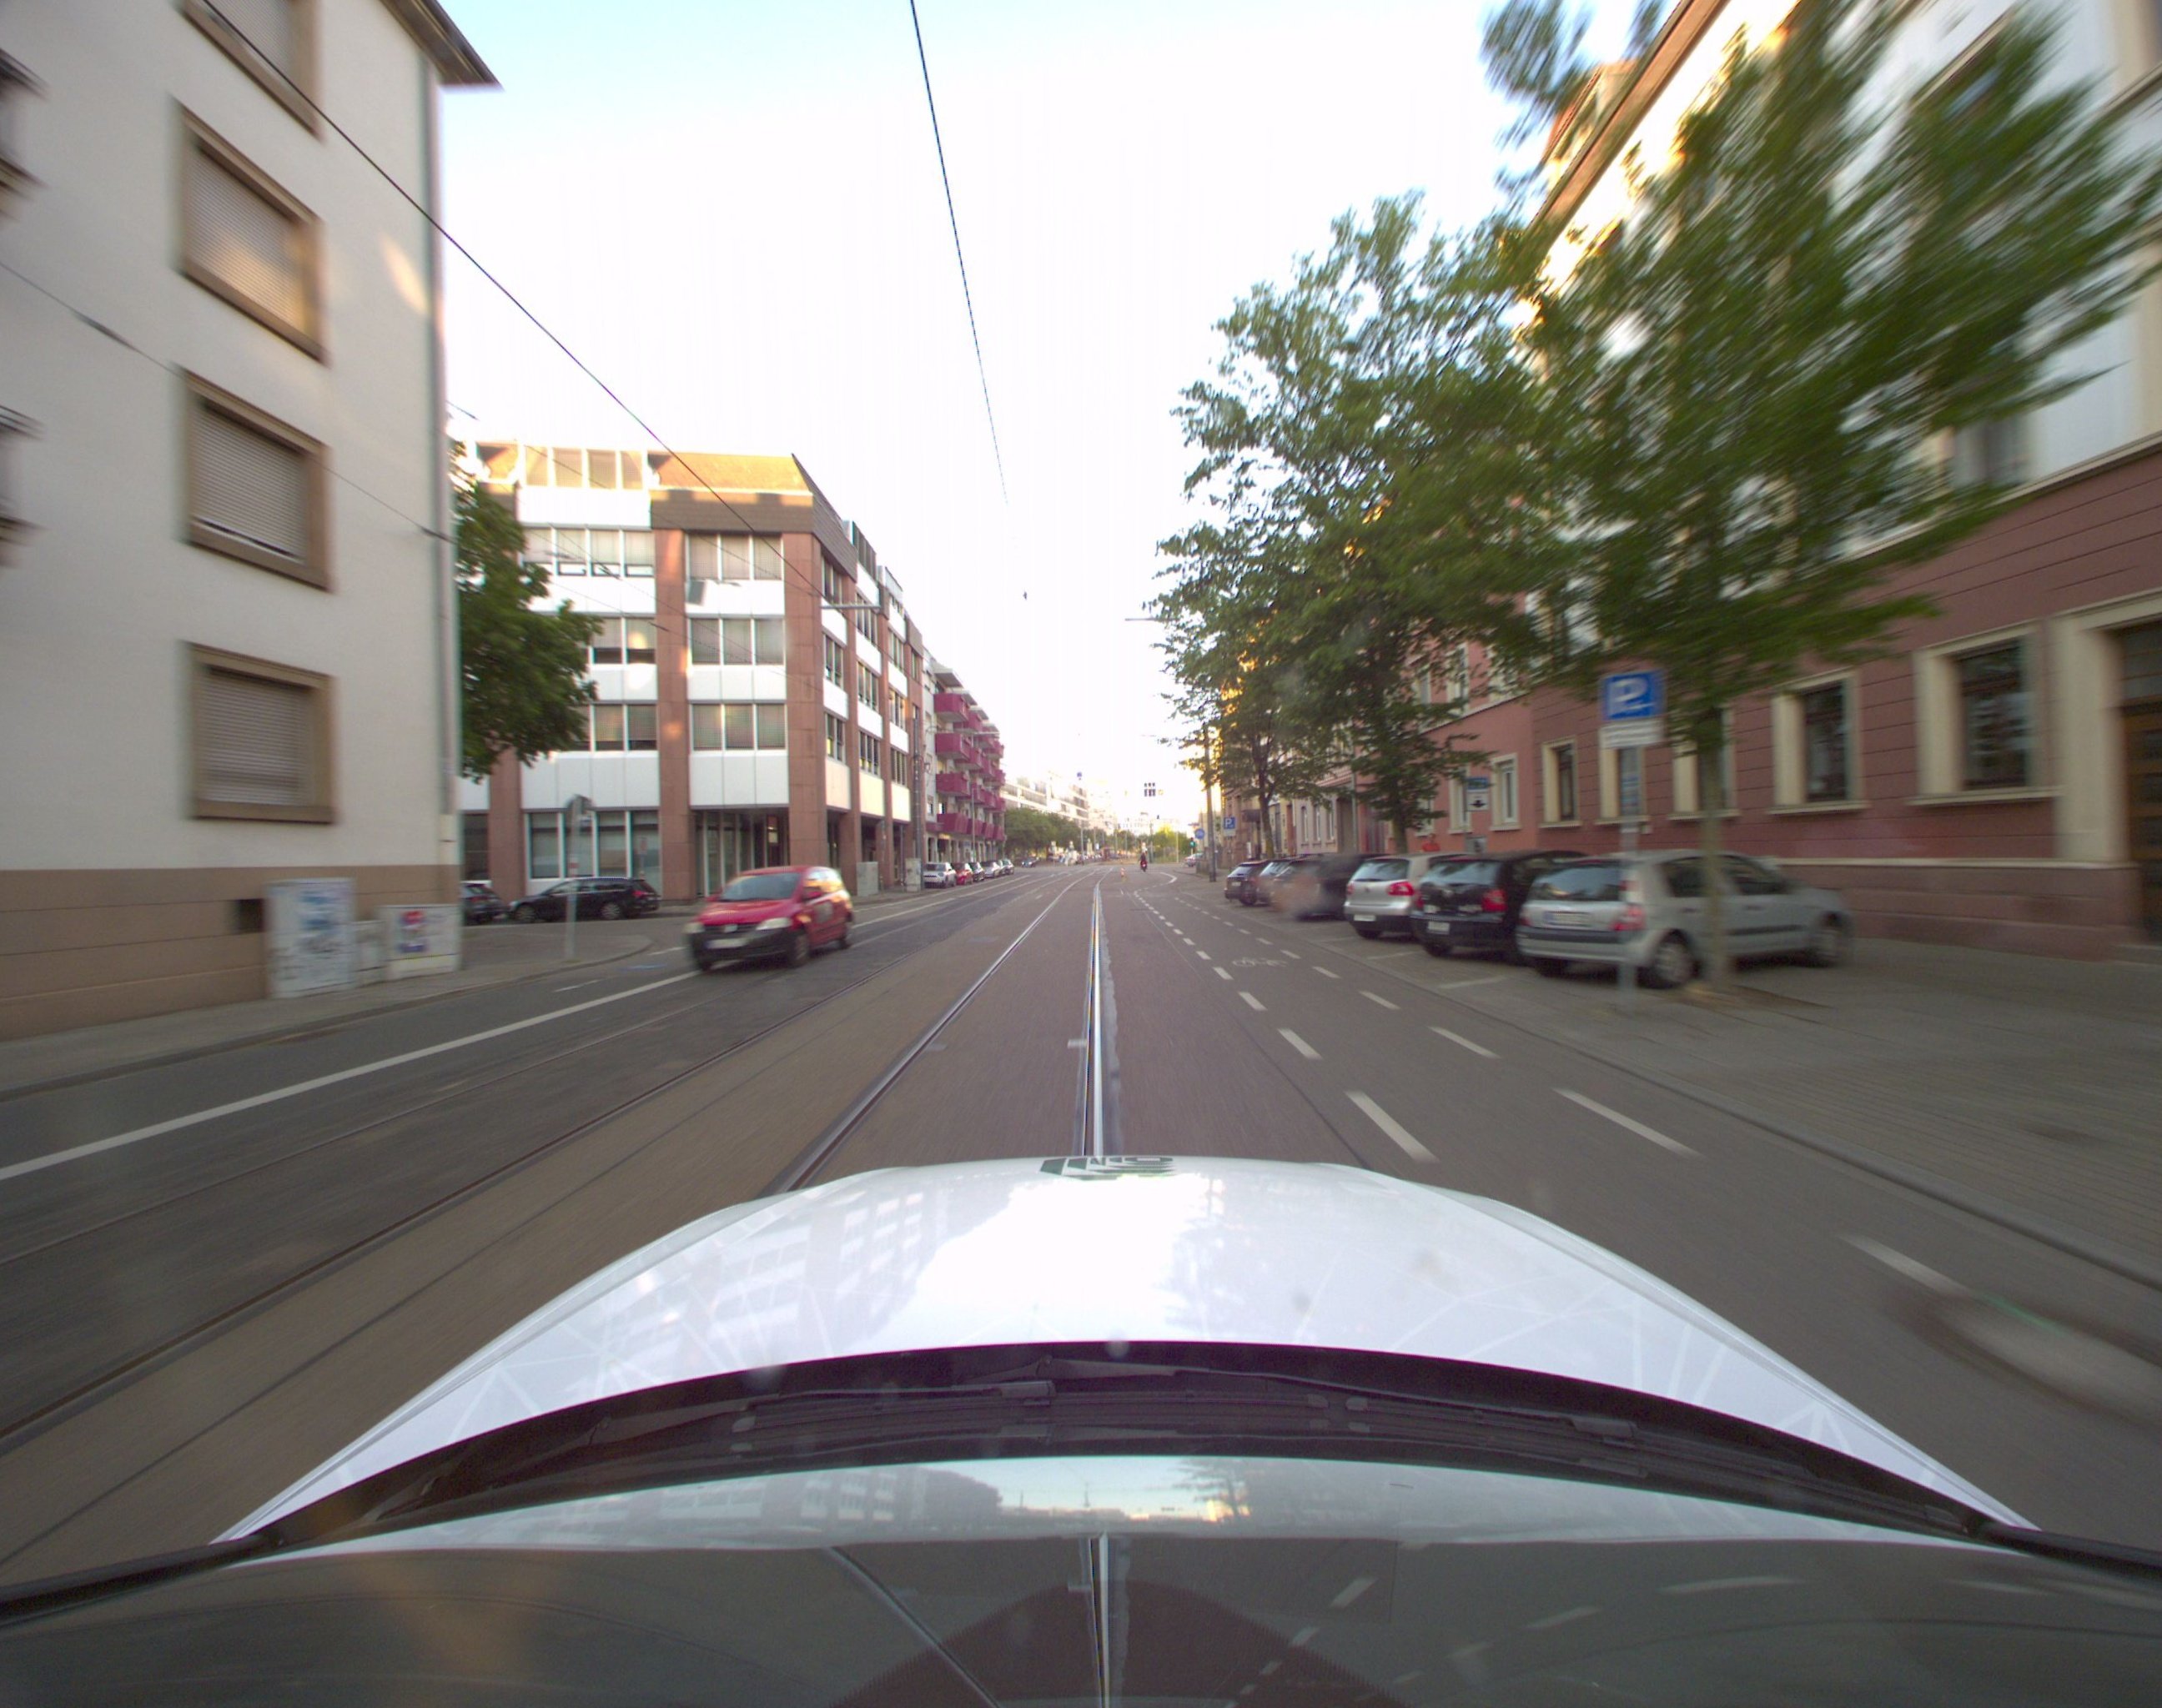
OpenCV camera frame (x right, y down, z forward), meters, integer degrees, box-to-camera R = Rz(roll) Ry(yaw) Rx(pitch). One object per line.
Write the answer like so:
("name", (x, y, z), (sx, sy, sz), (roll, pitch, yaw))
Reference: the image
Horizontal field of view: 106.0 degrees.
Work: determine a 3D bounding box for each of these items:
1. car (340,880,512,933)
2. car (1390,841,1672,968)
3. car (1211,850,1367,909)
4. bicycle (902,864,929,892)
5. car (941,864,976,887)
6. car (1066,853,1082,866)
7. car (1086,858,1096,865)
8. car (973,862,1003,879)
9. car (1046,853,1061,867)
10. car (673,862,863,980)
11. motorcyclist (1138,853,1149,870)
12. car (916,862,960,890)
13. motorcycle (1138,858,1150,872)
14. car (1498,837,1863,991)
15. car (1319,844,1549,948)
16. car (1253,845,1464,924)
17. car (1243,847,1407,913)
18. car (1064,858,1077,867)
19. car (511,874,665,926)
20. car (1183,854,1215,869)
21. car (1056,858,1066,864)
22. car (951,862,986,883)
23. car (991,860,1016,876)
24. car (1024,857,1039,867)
("car", (-21.483, 1.701, 26.861), (3.982, 1.505, 1.919), (-2, -2, -7))
("car", (6.363, 0.630, 11.530), (3.572, 1.429, 1.656), (-3, 0, -25))
("car", (6.491, 0.753, 25.364), (4.626, 1.457, 1.697), (-4, 0, -24))
("bicycle", (-8.855, 1.279, 43.733), (0.605, 1.377, 2.264), (-2, 0, 9))
("car", (-8.135, 1.407, 54.312), (1.605, 1.479, 3.481), (0, 0, 2))
("car", (-1.263, 1.022, 156.870), (2.449, 2.482, 5.816), (-2, 0, 5))
("car", (2.127, 1.547, 175.980), (1.673, 1.439, 4.135), (-2, 0, 8))
("car", (-7.778, 1.375, 68.596), (1.684, 1.414, 4.681), (0, 0, 3))
("car", (-6.460, 1.315, 193.249), (2.188, 3.152, 6.158), (-2, 0, 9))
("car", (-4.951, 0.963, 13.455), (1.553, 1.558, 3.755), (-3, 0, 1))
("motorcyclist", (5.778, 0.677, 75.173), (0.826, 1.473, 1.206), (-2, 0, -1))
("car", (-8.452, 1.273, 48.385), (1.710, 1.555, 4.205), (0, 0, 2))
("motorcycle", (5.789, 0.968, 75.140), (0.826, 1.240, 2.490), (-2, 0, -1))
("car", (6.846, 0.613, 9.368), (3.492, 1.429, 1.610), (-2, -2, -18))
("car", (6.212, 0.670, 14.359), (3.572, 1.516, 1.729), (-3, 0, -25))
("car", (6.568, 0.666, 19.342), (4.462, 1.516, 2.048), (-3, 0, -22))
("car", (6.687, 0.698, 22.316), (4.005, 1.492, 1.816), (-3, -2, -24))
("car", (-1.868, 1.553, 151.049), (1.673, 1.439, 4.135), (-2, 0, 8))
("car", (-16.627, 1.534, 27.633), (3.982, 1.505, 1.919), (-2, -2, -7))
("car", (12.856, 0.769, 88.481), (1.700, 1.555, 4.230), (-1, 0, 35))
("car", (-4.946, 1.772, 202.583), (1.673, 1.501, 4.250), (-2, 0, 9))
("car", (-8.293, 1.346, 60.292), (1.988, 1.479, 4.480), (0, 0, -1))
("car", (-7.601, 1.335, 80.251), (1.845, 1.457, 5.088), (-2, 0, 2))
("car", (-8.552, 1.383, 140.909), (1.672, 1.700, 4.251), (-2, 0, 10))
